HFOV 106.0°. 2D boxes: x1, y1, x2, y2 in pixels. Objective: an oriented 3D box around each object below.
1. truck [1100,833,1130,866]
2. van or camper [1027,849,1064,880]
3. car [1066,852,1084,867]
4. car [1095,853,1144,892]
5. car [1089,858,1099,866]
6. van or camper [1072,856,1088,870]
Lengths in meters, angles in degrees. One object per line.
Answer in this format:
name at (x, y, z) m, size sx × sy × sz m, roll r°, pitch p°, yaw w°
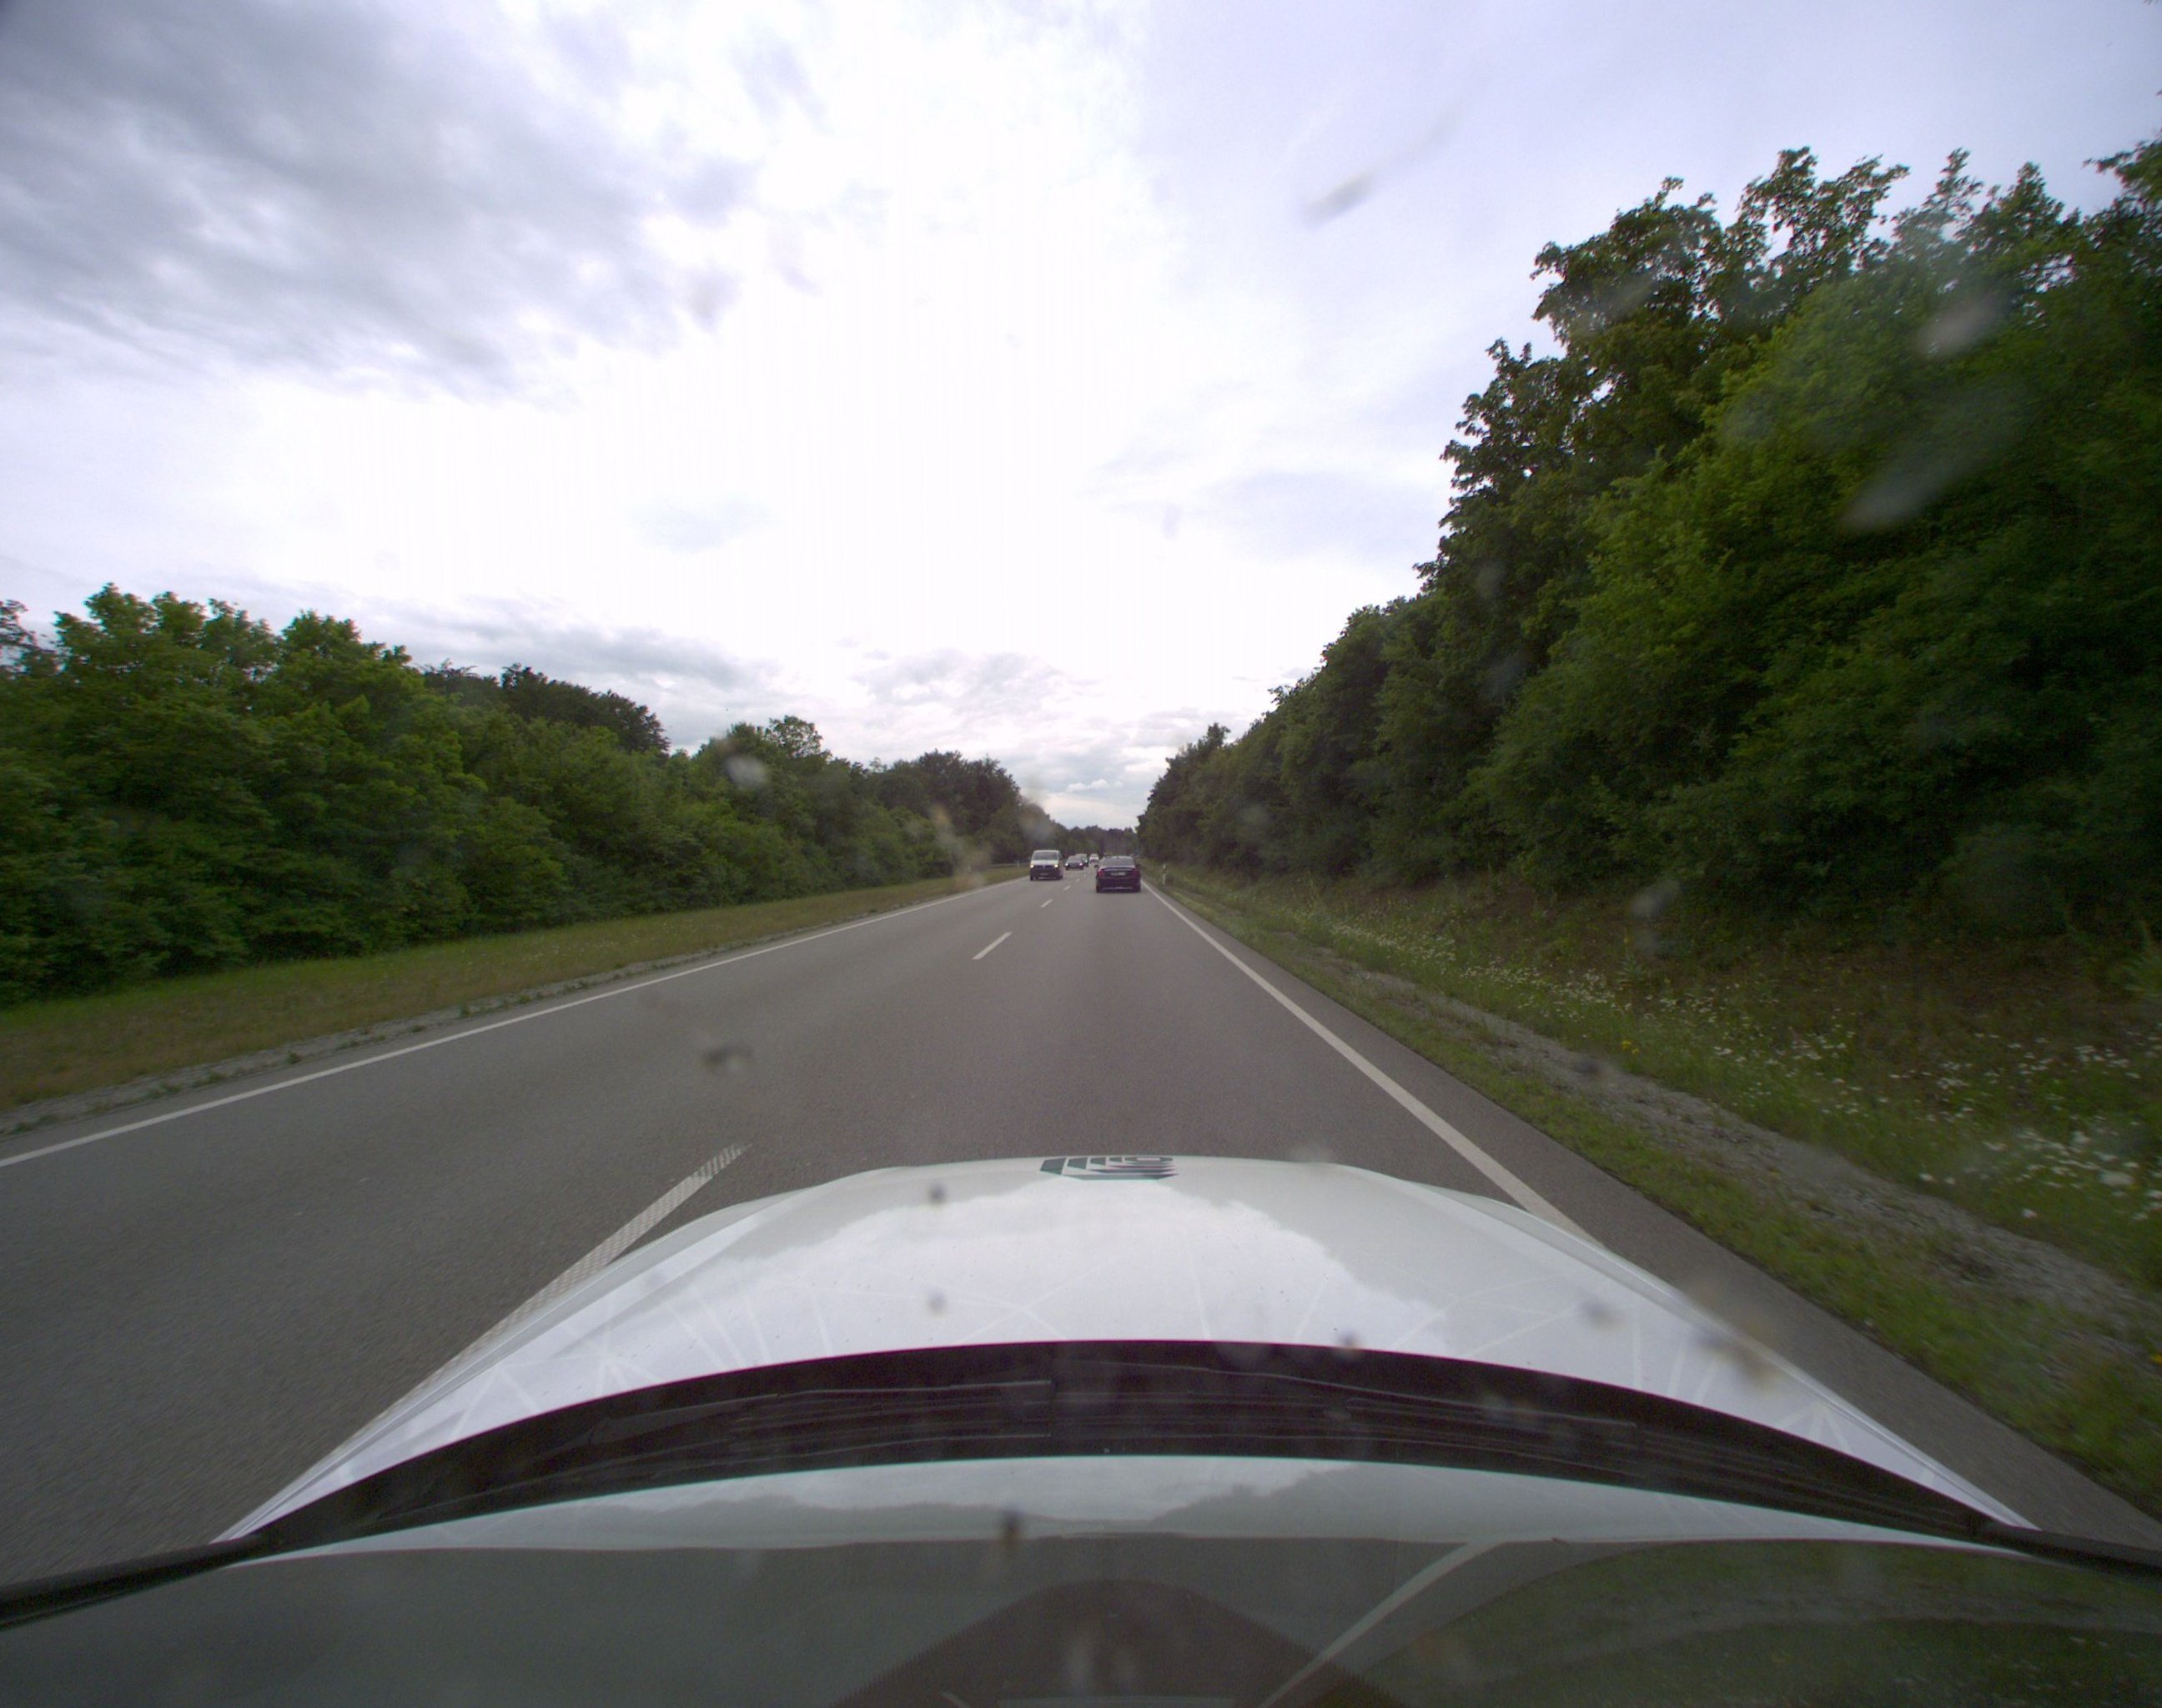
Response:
truck at (4.034, -0.451, 94.255) m, size 3.267 × 3.611 × 11.408 m, roll -1°, pitch 0°, yaw 3°
van or camper at (-2.245, 0.633, 52.936) m, size 1.914 × 1.892 × 5.364 m, roll -1°, pitch 0°, yaw 2°
car at (-0.612, 0.593, 87.513) m, size 1.682 × 1.479 × 4.458 m, roll -1°, pitch 0°, yaw 2°
car at (1.561, 0.739, 34.238) m, size 1.786 × 1.552 × 3.998 m, roll -1°, pitch 0°, yaw -1°
car at (2.462, 1.504, 157.991) m, size 1.868 × 1.559 × 3.757 m, roll -1°, pitch 0°, yaw 2°
van or camper at (-0.169, 1.124, 106.775) m, size 1.988 × 1.783 × 4.420 m, roll -1°, pitch 0°, yaw -1°
